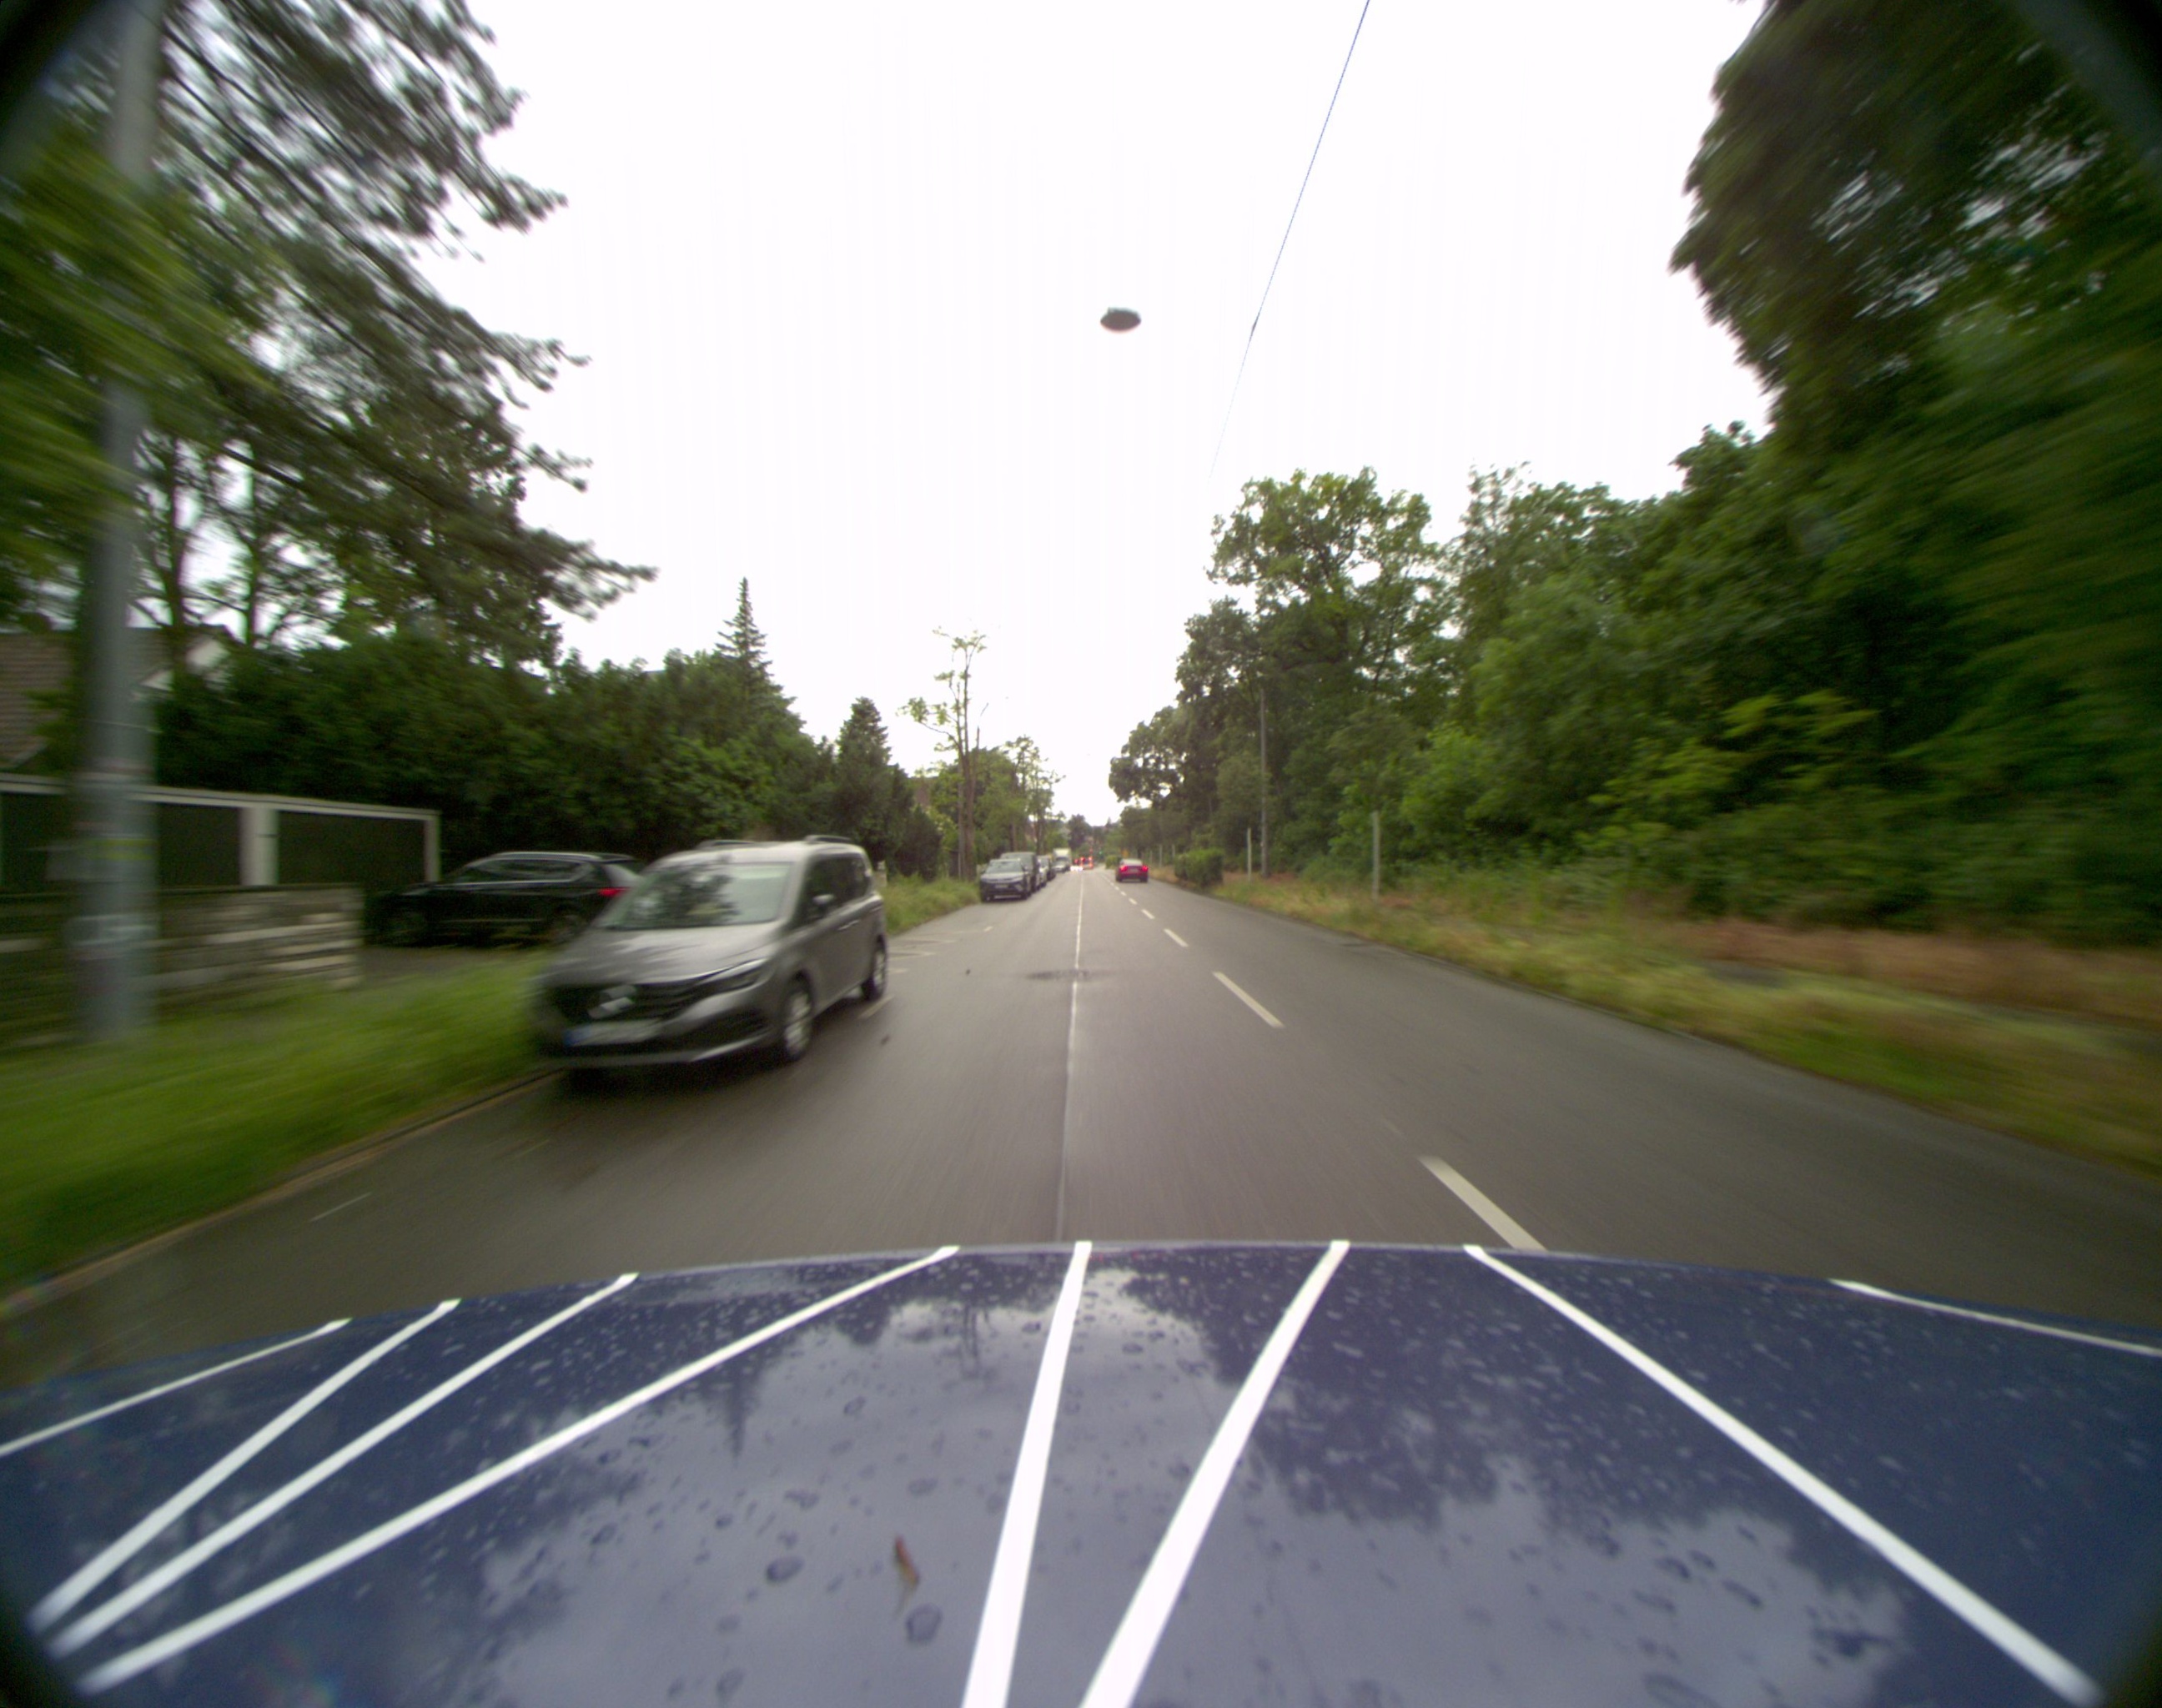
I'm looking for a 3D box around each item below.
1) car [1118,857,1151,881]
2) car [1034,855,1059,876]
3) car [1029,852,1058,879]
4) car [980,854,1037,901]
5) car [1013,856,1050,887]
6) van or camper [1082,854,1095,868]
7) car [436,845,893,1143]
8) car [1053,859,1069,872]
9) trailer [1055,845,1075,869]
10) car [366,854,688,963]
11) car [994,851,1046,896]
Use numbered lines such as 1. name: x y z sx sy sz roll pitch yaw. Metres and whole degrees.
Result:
1. car: 3.319 0.914 48.151 1.865 1.471 4.156 0 0 1
2. car: -2.719 0.917 60.172 1.683 1.546 4.076 -2 -1 0
3. car: -2.657 0.811 54.068 1.734 1.836 4.230 -2 -1 0
4. car: -2.885 0.917 31.013 1.778 1.712 4.327 -2 -1 1
5. car: -2.785 0.997 43.868 1.809 1.603 4.286 -2 -1 0
6. van or camper: 1.847 1.749 190.993 2.862 3.159 6.852 -3 -1 3
7. car: -3.165 0.911 6.956 1.819 1.802 4.282 -2 -1 -1
8. car: -2.245 1.260 86.464 1.786 1.387 4.000 -2 -1 -1
9. trailer: -2.339 0.488 115.714 2.741 3.487 8.248 -2 -1 0
10. car: -9.750 0.908 13.648 4.319 1.672 2.000 1 1 1
11. car: -2.940 0.931 37.738 1.998 2.001 4.888 -2 -1 1
